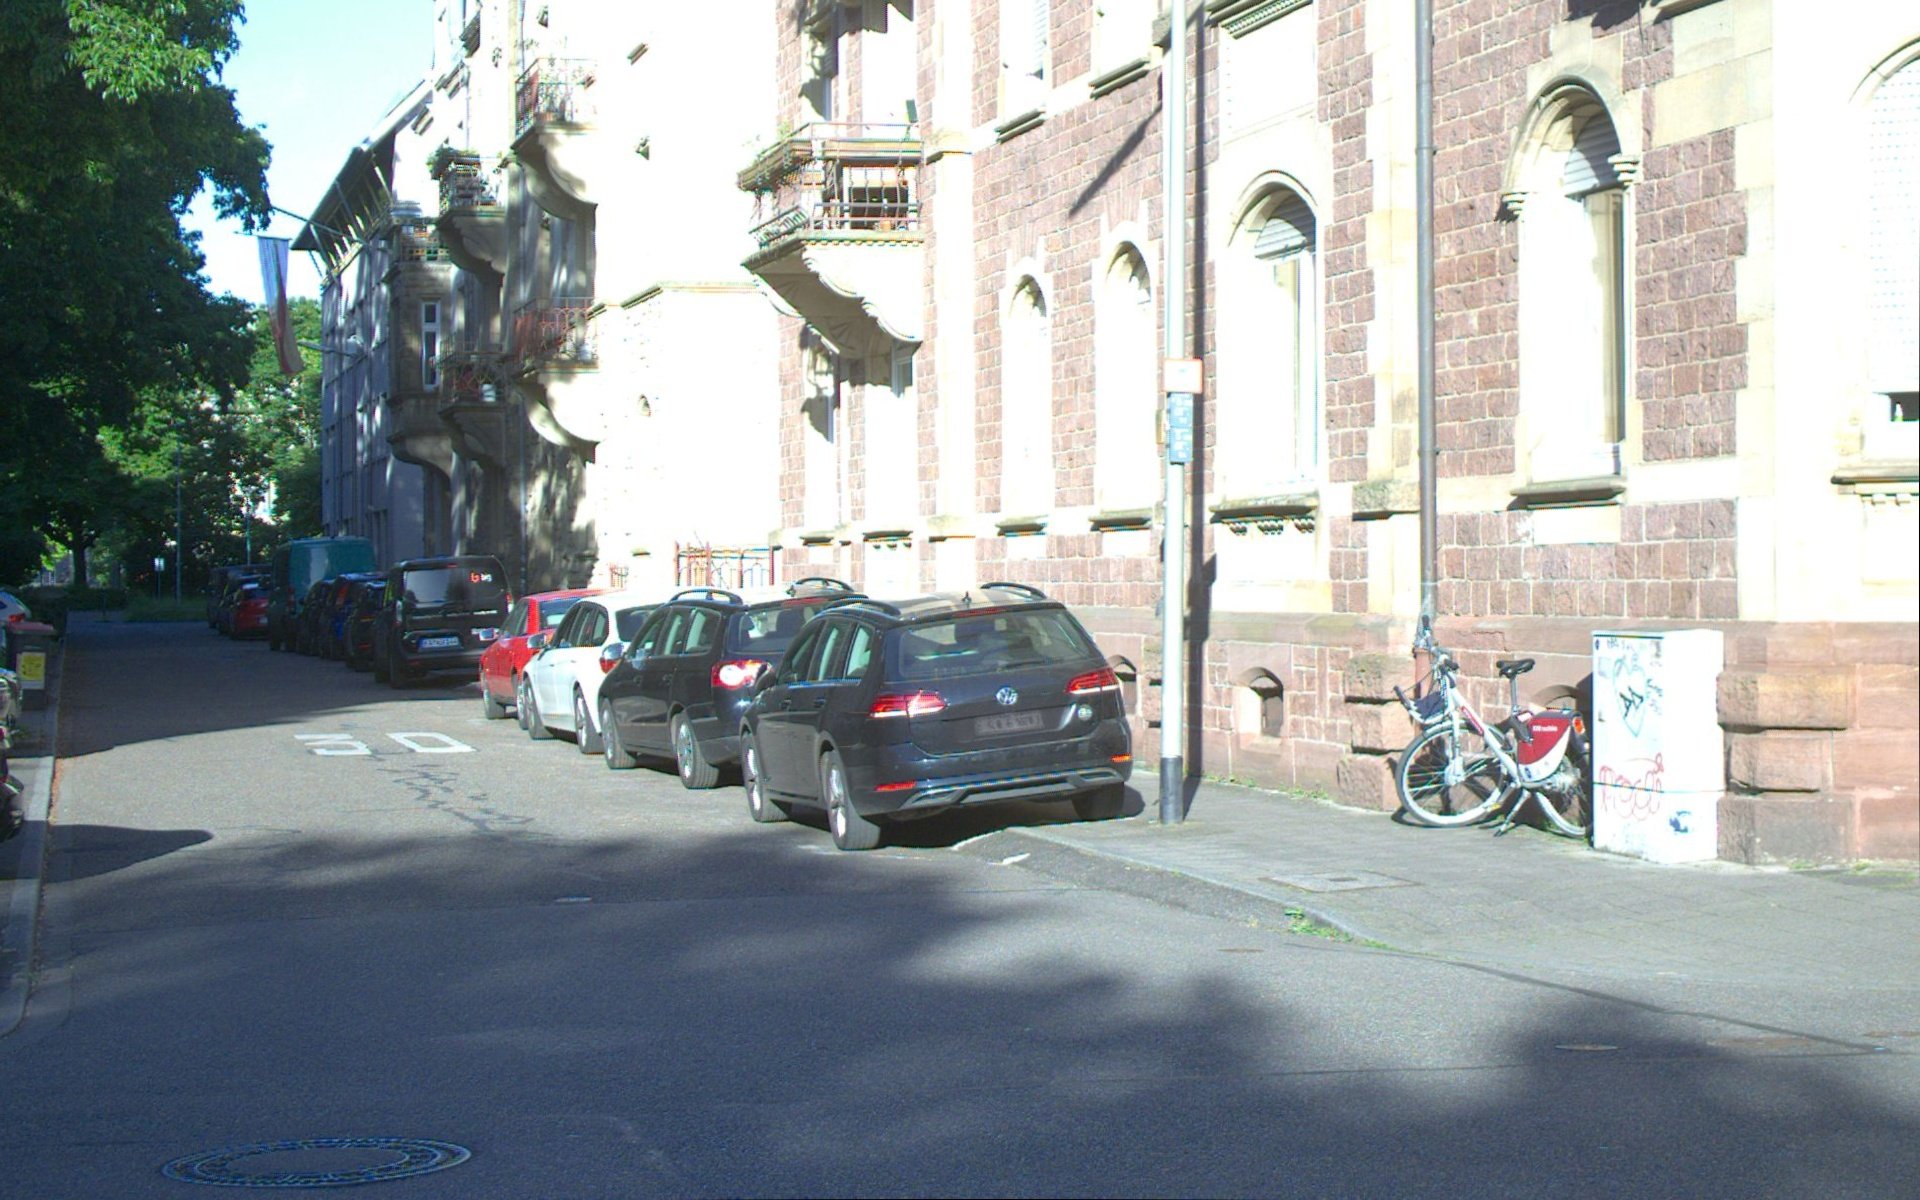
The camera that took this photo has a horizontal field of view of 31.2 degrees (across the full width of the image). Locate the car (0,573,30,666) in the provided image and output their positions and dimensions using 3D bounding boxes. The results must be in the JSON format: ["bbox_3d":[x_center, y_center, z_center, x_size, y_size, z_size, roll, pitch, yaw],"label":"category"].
[{"bbox_3d":[-17.844,0.296,58.555,3.800,1.570,1.711,1,0,-16],"label":"car"}]

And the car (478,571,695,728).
[{"bbox_3d":[-4.078,0.495,37.017,1.737,1.576,4.001,1,0,-14],"label":"car"}]

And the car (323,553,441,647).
[{"bbox_3d":[-10.792,-0.011,64.025,1.802,1.673,4.001,1,0,-14],"label":"car"}]

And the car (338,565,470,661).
[{"bbox_3d":[-9.306,0.196,57.342,1.802,1.509,4.001,1,0,-14],"label":"car"}]

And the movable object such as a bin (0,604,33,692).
[{"bbox_3d":[-11.595,0.578,41.682,0.629,1.049,0.568,1,0,-20],"label":"movable object such as a bin"}]

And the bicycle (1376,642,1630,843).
[{"bbox_3d":[2.882,0.742,18.392,0.514,0.994,1.576,1,0,-26],"label":"bicycle"}]

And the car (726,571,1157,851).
[{"bbox_3d":[-0.223,0.622,21.490,1.737,1.576,4.001,1,0,-14],"label":"car"}]

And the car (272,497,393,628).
[{"bbox_3d":[-13.522,-0.796,73.901,2.165,2.681,4.792,1,0,-14],"label":"car"}]

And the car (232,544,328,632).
[{"bbox_3d":[-17.905,-0.320,90.412,2.165,2.229,4.792,1,0,-14],"label":"car"}]

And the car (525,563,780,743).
[{"bbox_3d":[-2.964,0.460,32.424,1.737,1.576,4.001,1,0,-14],"label":"car"}]

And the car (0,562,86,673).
[{"bbox_3d":[-14.575,0.229,49.383,3.800,1.570,1.711,1,0,-18],"label":"car"}]

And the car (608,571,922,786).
[{"bbox_3d":[-1.637,0.574,27.448,1.737,1.576,4.001,1,0,-14],"label":"car"}]

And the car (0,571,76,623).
[{"bbox_3d":[-23.668,-0.093,84.288,3.800,1.236,1.711,1,0,-16],"label":"car"}]

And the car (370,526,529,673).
[{"bbox_3d":[-7.363,-0.021,49.321,1.802,1.997,4.001,1,0,-14],"label":"car"}]

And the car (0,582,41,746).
[{"bbox_3d":[-10.644,0.520,30.375,4.833,1.430,1.711,1,0,-16],"label":"car"}]

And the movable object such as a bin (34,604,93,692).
[{"bbox_3d":[-10.918,0.582,41.882,0.629,1.049,0.568,1,0,-20],"label":"movable object such as a bin"}]

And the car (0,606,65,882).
[{"bbox_3d":[-7.055,0.732,18.538,4.242,1.430,2.001,1,0,-16],"label":"car"}]
